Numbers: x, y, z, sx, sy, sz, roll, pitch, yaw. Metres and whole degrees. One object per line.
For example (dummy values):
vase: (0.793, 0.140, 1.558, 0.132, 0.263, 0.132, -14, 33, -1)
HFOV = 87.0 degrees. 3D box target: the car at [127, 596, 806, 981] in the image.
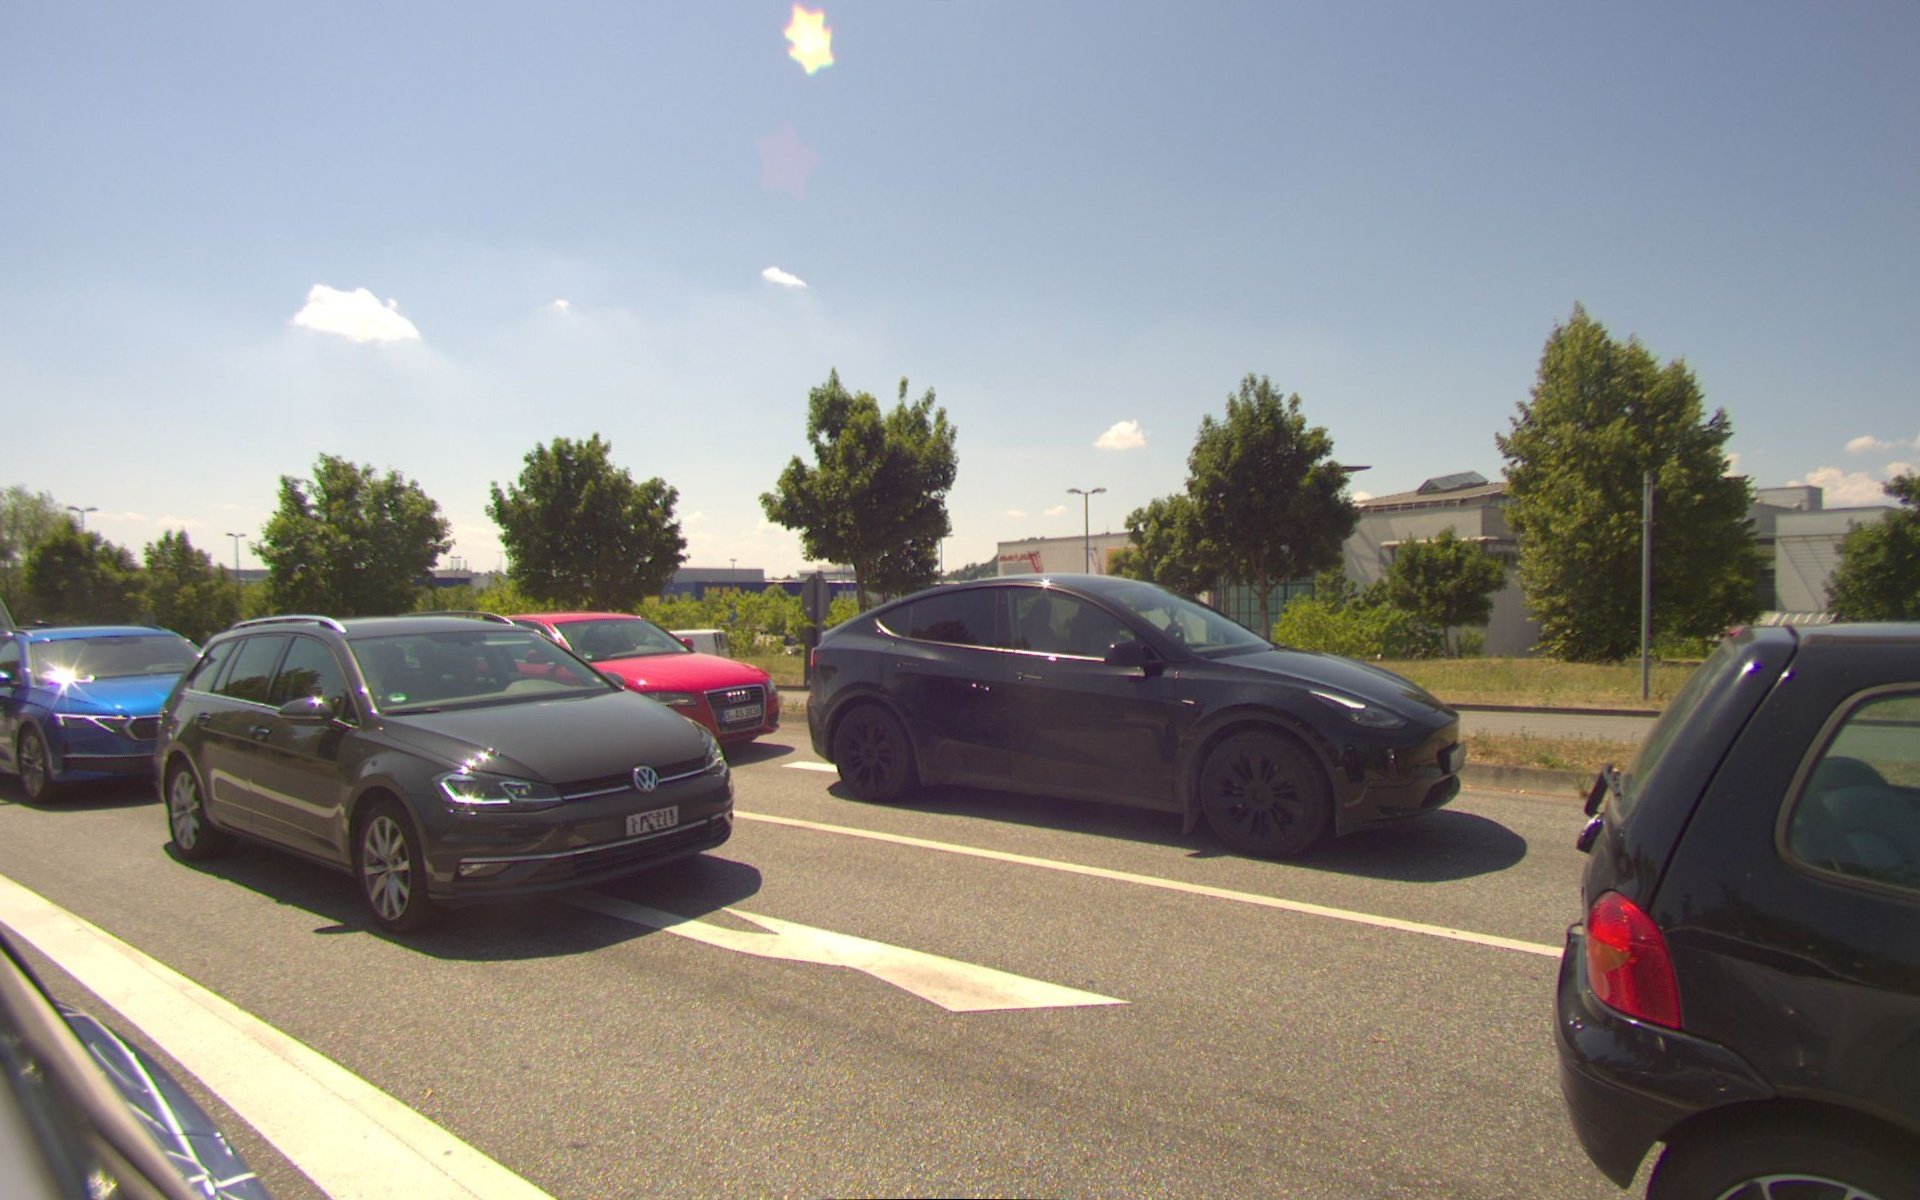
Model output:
car: (-3.118, 0.775, 5.984, 4.420, 1.493, 1.762, -1, 0, 36)

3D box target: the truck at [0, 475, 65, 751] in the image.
truck: (-15.099, 0.317, 13.710, 7.176, 3.373, 2.390, -3, -1, 31)

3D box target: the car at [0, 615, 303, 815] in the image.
car: (-8.309, 0.969, 9.632, 4.474, 1.473, 1.695, -2, 0, 32)

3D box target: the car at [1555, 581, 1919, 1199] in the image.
car: (2.894, 0.666, 1.515, 3.295, 1.418, 1.604, -1, -1, 37)

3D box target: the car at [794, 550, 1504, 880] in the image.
car: (1.119, 0.589, 7.035, 4.496, 1.613, 1.859, -1, 0, 36)

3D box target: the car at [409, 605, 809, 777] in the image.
car: (-3.757, 0.800, 10.474, 4.440, 1.399, 1.646, -1, 1, 36)

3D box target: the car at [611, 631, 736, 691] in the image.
car: (-10.182, 2.161, 36.226, 3.942, 1.975, 2.001, -1, -1, -1)
